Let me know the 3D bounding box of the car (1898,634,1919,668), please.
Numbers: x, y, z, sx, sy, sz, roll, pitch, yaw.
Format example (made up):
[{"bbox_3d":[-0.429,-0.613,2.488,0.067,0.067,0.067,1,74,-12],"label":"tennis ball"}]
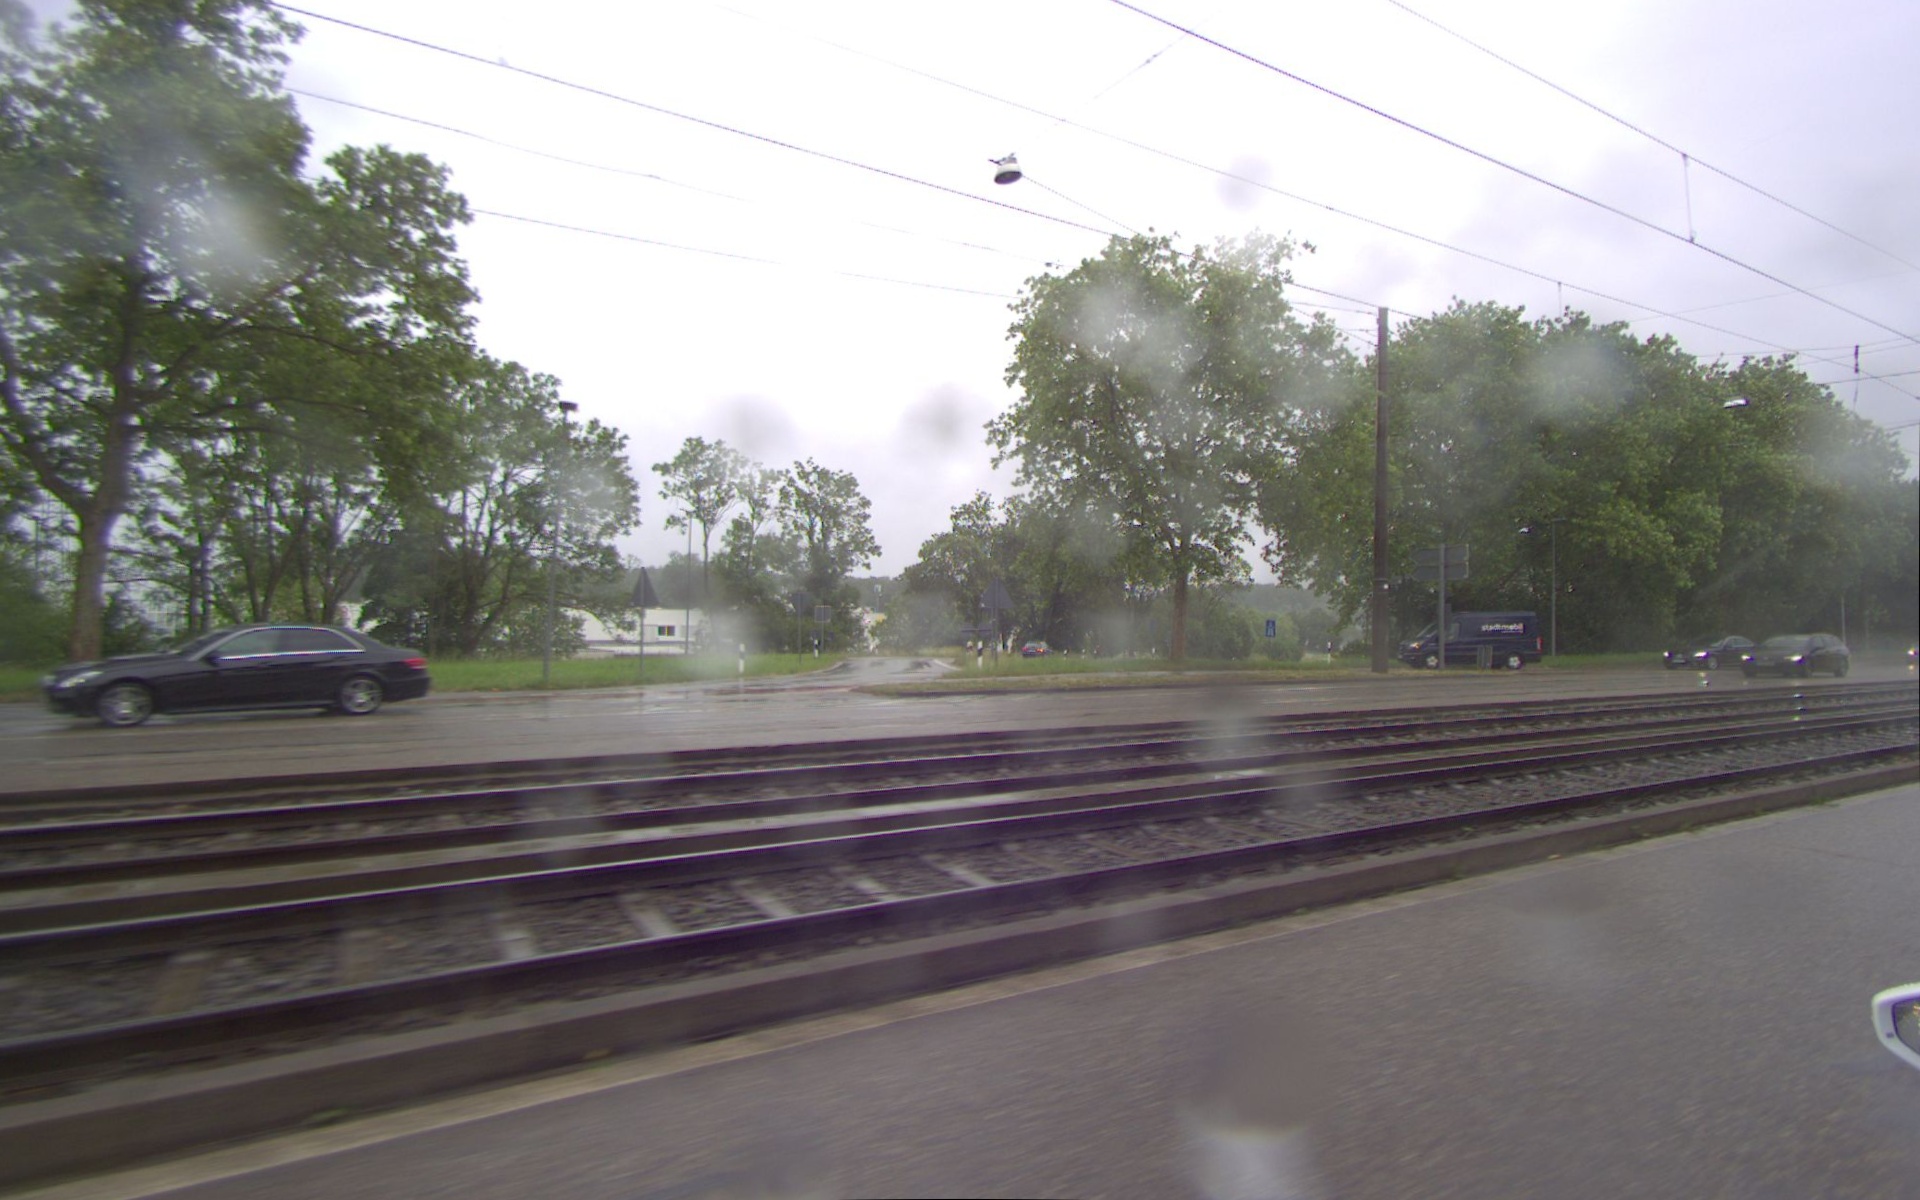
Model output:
[{"bbox_3d":[53.821,2.788,55.388,4.964,1.729,1.809,0,1,-32],"label":"car"}]

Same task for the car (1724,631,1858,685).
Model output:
[{"bbox_3d":[28.167,1.912,34.003,5.250,1.570,1.782,0,1,-30],"label":"car"}]

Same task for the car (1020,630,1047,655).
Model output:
[{"bbox_3d":[5.610,3.222,76.382,1.628,1.684,3.620,1,1,12],"label":"car"}]

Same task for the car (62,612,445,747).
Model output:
[{"bbox_3d":[-10.818,1.088,15.672,1.821,1.709,4.623,1,1,42],"label":"car"}]

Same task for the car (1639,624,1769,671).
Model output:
[{"bbox_3d":[31.252,1.965,42.187,4.689,1.822,2.081,0,1,-19],"label":"car"}]

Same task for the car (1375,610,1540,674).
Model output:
[{"bbox_3d":[20.757,1.733,42.193,5.730,2.458,2.340,1,1,7],"label":"car"}]
